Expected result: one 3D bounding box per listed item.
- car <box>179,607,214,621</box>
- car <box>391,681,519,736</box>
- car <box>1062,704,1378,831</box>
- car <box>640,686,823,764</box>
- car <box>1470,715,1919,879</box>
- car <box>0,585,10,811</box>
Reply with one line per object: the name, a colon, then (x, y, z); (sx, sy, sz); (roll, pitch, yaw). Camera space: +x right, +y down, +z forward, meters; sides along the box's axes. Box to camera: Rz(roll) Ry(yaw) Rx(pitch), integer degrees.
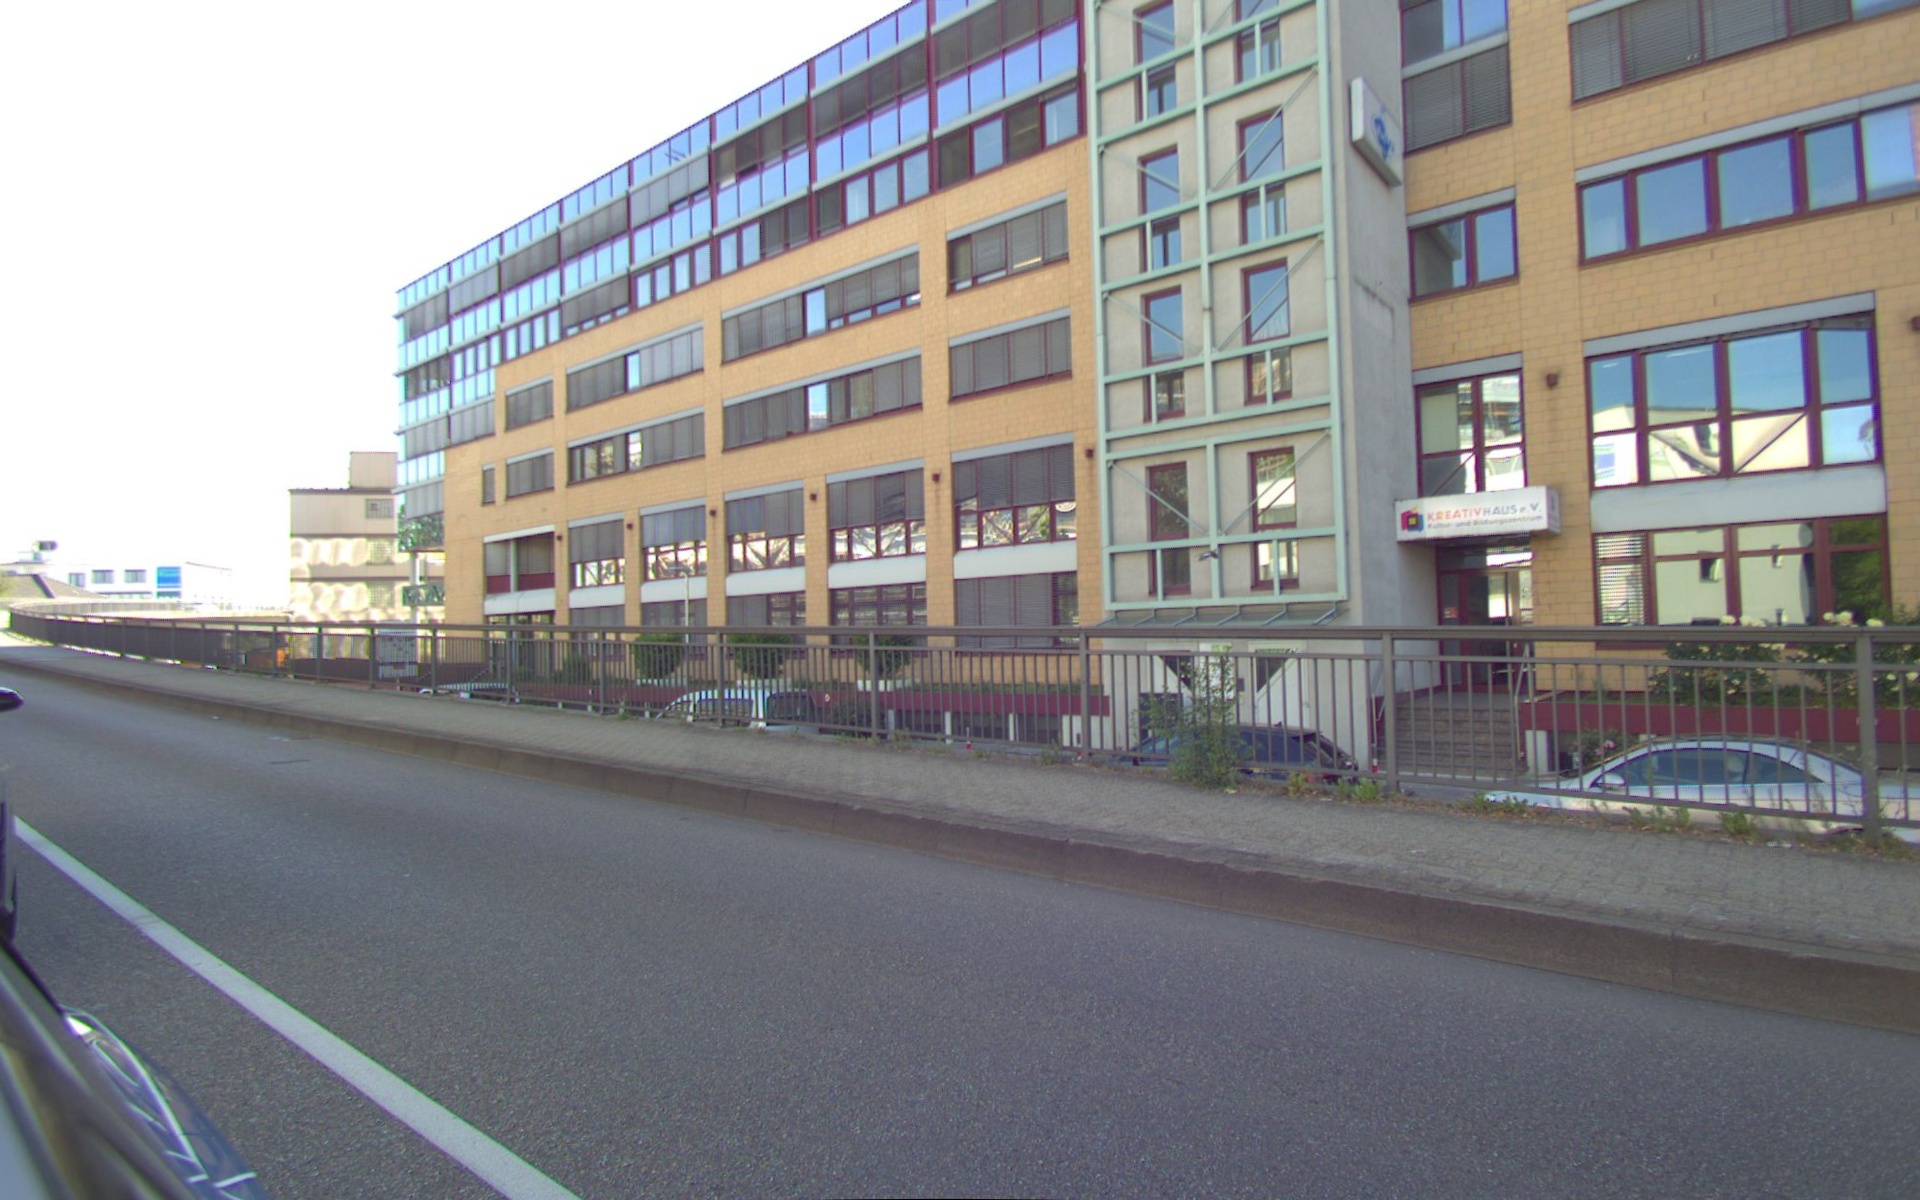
car: (-86.898, 1.630, 115.221); (1.920, 1.475, 4.012); (5, -3, -19)
car: (-13.819, 2.916, 27.625); (3.805, 1.279, 1.744); (-3, -4, 40)
car: (3.383, 2.135, 13.575); (3.805, 1.279, 1.560); (-3, -4, 40)
car: (-4.594, 2.415, 20.125); (3.805, 1.279, 1.560); (-3, -4, 40)
car: (7.685, 1.875, 10.205); (4.254, 1.175, 1.704); (-3, -4, 40)
car: (-5.844, 0.813, 4.655); (3.998, 1.660, 1.726); (-3, -4, 41)
